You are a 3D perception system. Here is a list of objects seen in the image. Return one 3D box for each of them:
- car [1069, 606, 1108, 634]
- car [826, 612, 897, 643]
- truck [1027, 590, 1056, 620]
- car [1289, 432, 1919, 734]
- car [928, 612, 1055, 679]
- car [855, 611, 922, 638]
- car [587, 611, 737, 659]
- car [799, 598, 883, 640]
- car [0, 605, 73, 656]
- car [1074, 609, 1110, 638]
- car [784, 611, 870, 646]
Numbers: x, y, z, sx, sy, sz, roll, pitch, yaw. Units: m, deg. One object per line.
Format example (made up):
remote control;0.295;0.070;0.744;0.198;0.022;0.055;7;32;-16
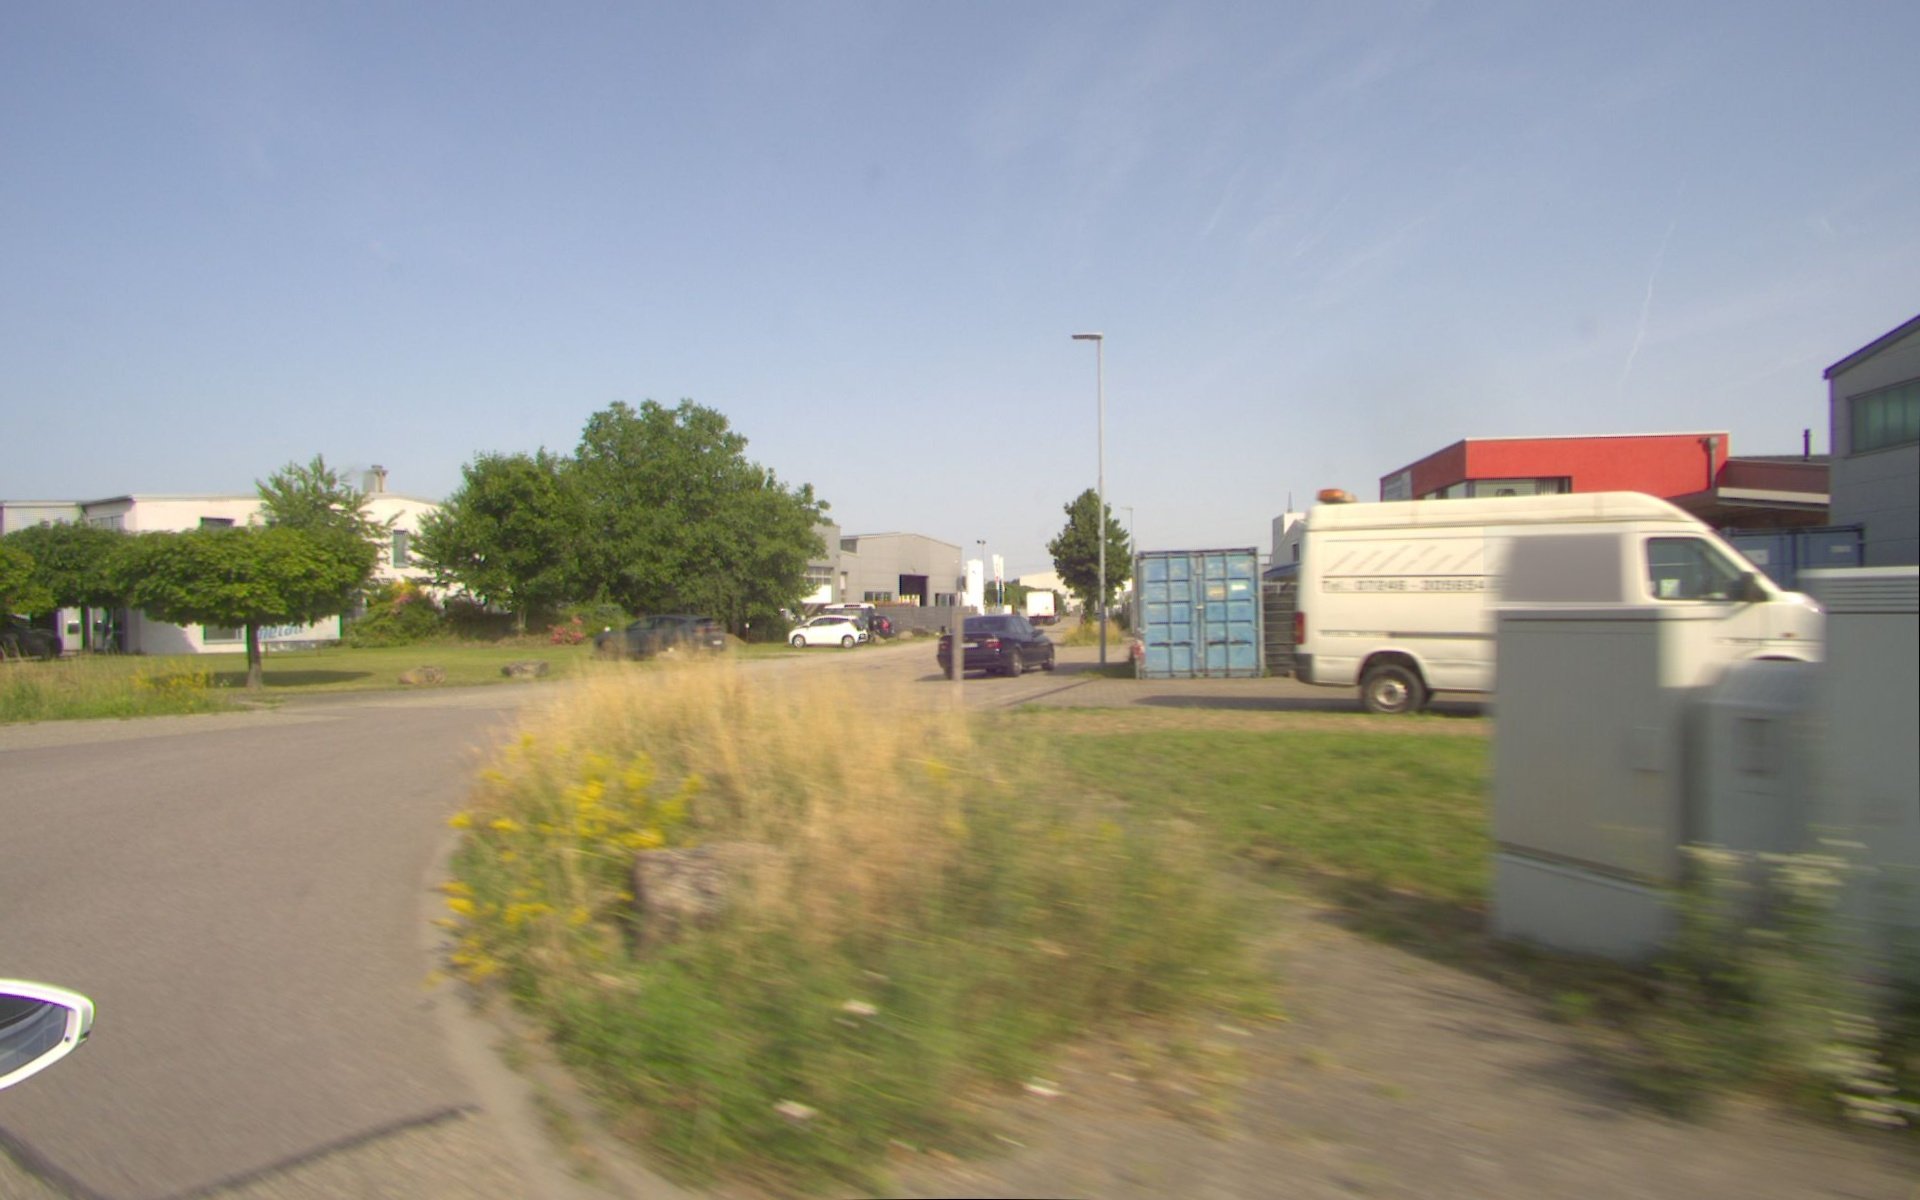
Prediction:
car;8.262;1.238;64.200;1.963;1.751;3.995;0;0;15
car;-4.953;1.380;50.519;3.256;1.427;1.561;-2;0;12
truck;9.648;0.600;117.874;2.491;3.415;7.672;0;0;12
car;6.938;-0.118;11.400;5.795;2.741;1.970;-1;0;32
car;0.878;1.033;24.078;1.779;1.427;4.464;-2;-1;19
car;-3.814;1.315;53.576;3.255;1.427;1.562;0;0;12
car;-9.488;1.107;31.991;4.266;1.428;1.785;-1;0;12
car;-5.725;0.930;48.351;3.638;1.982;1.684;0;0;12
car;-31.463;0.999;32.815;1.657;1.610;4.528;0;-1;-14
car;7.641;1.333;57.868;1.800;1.542;3.586;-1;0;12
car;-5.914;1.261;44.639;3.452;1.469;1.561;-2;0;12
